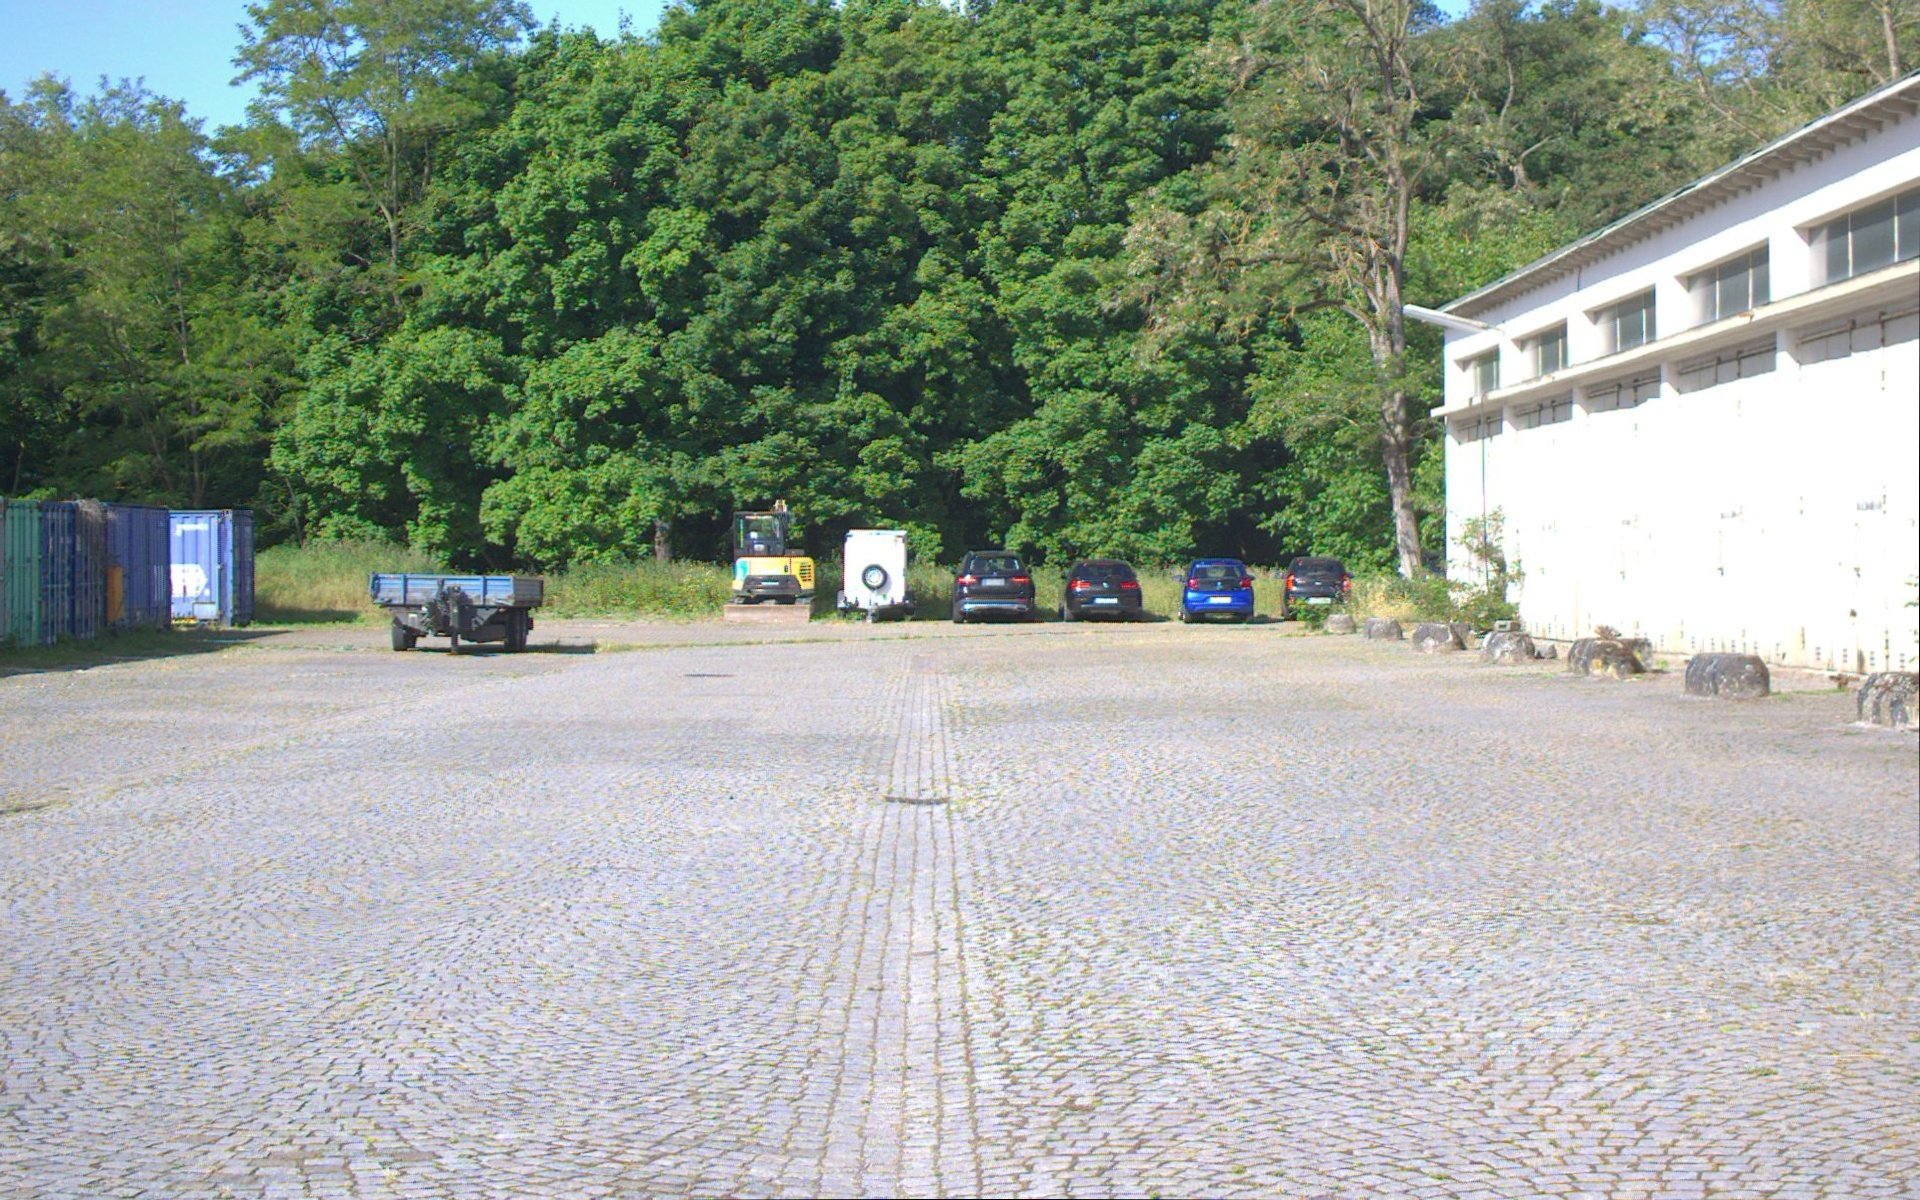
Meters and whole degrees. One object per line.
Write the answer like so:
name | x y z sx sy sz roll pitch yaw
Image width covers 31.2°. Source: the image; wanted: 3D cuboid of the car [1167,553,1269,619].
car | 5.928 -0.334 79.310 1.993 1.461 4.000 0 1 -1

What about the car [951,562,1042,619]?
car | 0.811 -0.242 78.943 1.993 1.254 4.000 0 1 -1

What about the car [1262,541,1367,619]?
car | 8.280 -0.479 80.556 1.993 1.766 4.000 0 1 -1

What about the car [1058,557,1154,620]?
car | 3.336 -0.283 79.319 1.993 1.419 4.000 0 1 -1

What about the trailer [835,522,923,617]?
trailer | -1.873 -0.717 80.169 1.993 2.155 4.432 0 1 -1

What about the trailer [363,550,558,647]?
trailer | -8.863 -0.045 61.611 2.791 1.640 5.621 0 1 -1

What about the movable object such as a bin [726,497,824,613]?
movable object such as a bin | -4.345 -1.051 80.921 2.231 2.648 4.001 0 1 -3
